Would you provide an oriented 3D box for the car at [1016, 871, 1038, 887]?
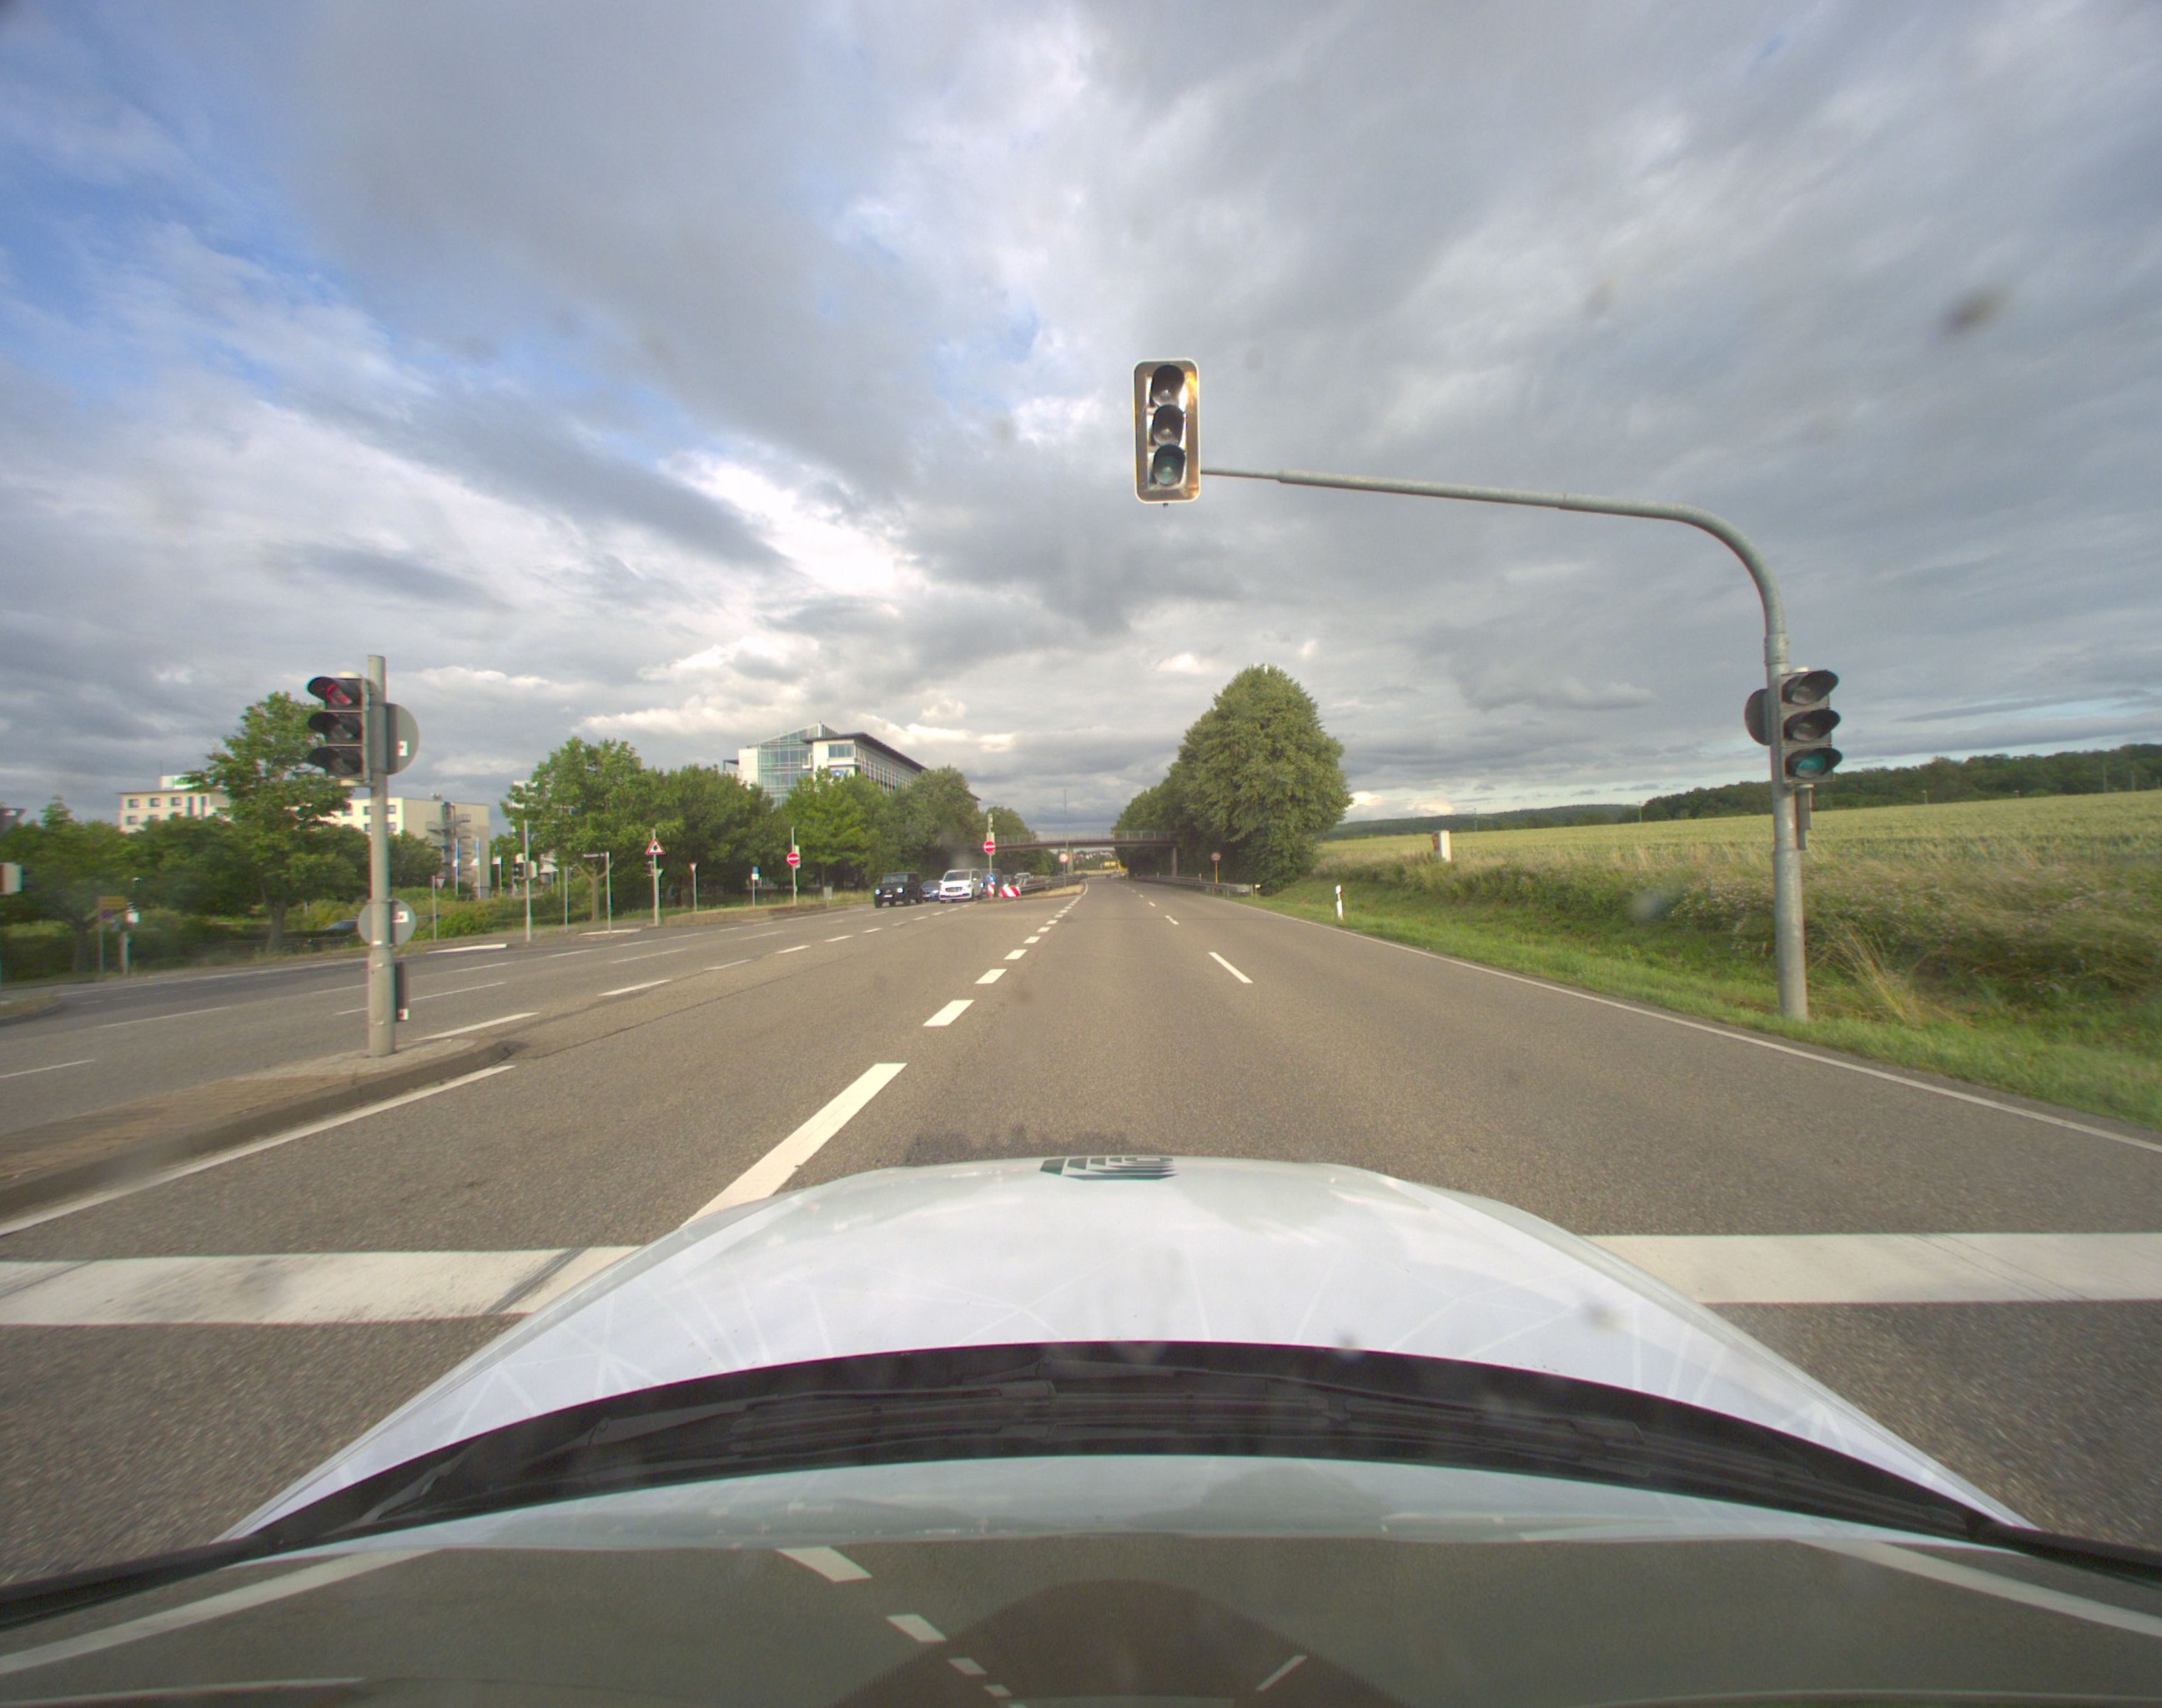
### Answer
[{"bbox_3d":[-5.534,2.534,83.892,1.816,1.584,4.791,-1,-1,1],"label":"car"}]

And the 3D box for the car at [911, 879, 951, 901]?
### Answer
[{"bbox_3d":[-10.051,2.411,54.777,1.715,1.240,4.001,-5,-1,1],"label":"car"}]

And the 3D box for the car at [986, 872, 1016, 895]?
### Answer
[{"bbox_3d":[-6.225,2.275,63.948,1.707,1.589,4.554,-4,0,1],"label":"car"}]

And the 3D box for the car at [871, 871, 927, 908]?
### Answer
[{"bbox_3d":[-10.656,2.026,48.012,1.927,1.990,5.091,-3,-1,1],"label":"car"}]

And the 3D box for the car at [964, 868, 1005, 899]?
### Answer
[{"bbox_3d":[-6.549,1.980,55.691,1.891,1.917,5.053,-2,-1,3],"label":"car"}]

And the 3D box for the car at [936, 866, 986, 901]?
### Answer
[{"bbox_3d":[-7.016,1.692,48.148,1.927,1.872,5.348,-3,-1,1],"label":"car"}]

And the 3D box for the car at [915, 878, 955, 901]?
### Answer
[{"bbox_3d":[-9.794,2.345,54.854,1.641,1.388,4.188,-3,-1,3],"label":"car"}]
